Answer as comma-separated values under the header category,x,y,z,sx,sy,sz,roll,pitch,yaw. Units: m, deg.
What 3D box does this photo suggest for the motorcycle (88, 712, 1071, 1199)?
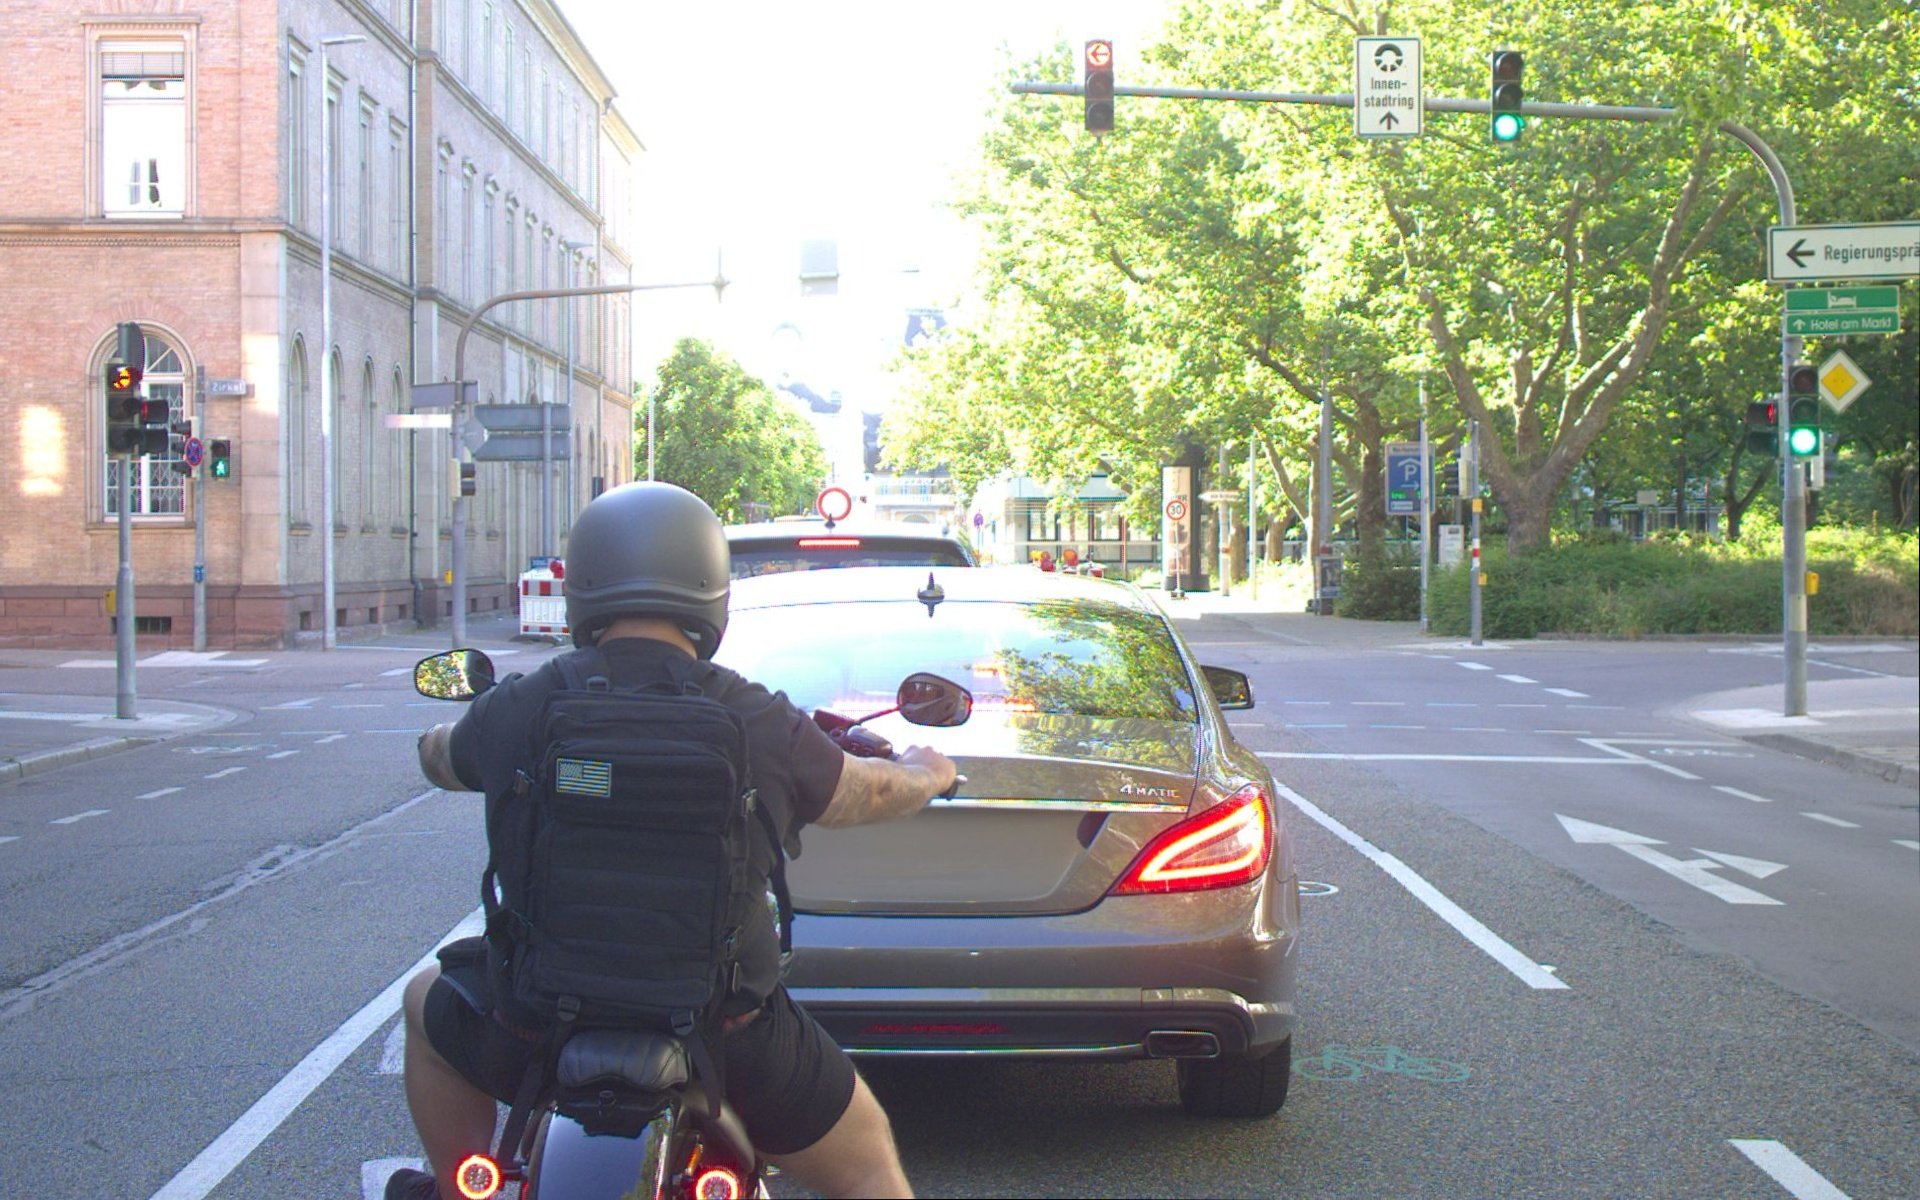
category,x,y,z,sx,sy,sz,roll,pitch,yaw
motorcycle,-0.465,0.837,5.503,1.118,1.203,2.212,1,1,6

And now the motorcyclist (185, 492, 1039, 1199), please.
category,x,y,z,sx,sy,sz,roll,pitch,yaw
motorcyclist,-0.479,0.633,5.280,1.099,1.560,1.071,1,0,6

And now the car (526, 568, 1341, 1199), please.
category,x,y,z,sx,sy,sz,roll,pitch,yaw
car,-0.081,0.639,9.668,1.822,1.432,3.806,1,1,-1

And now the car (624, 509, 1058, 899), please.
category,x,y,z,sx,sy,sz,roll,pitch,yaw
car,-0.540,0.433,16.945,1.863,1.672,4.000,1,1,-1
